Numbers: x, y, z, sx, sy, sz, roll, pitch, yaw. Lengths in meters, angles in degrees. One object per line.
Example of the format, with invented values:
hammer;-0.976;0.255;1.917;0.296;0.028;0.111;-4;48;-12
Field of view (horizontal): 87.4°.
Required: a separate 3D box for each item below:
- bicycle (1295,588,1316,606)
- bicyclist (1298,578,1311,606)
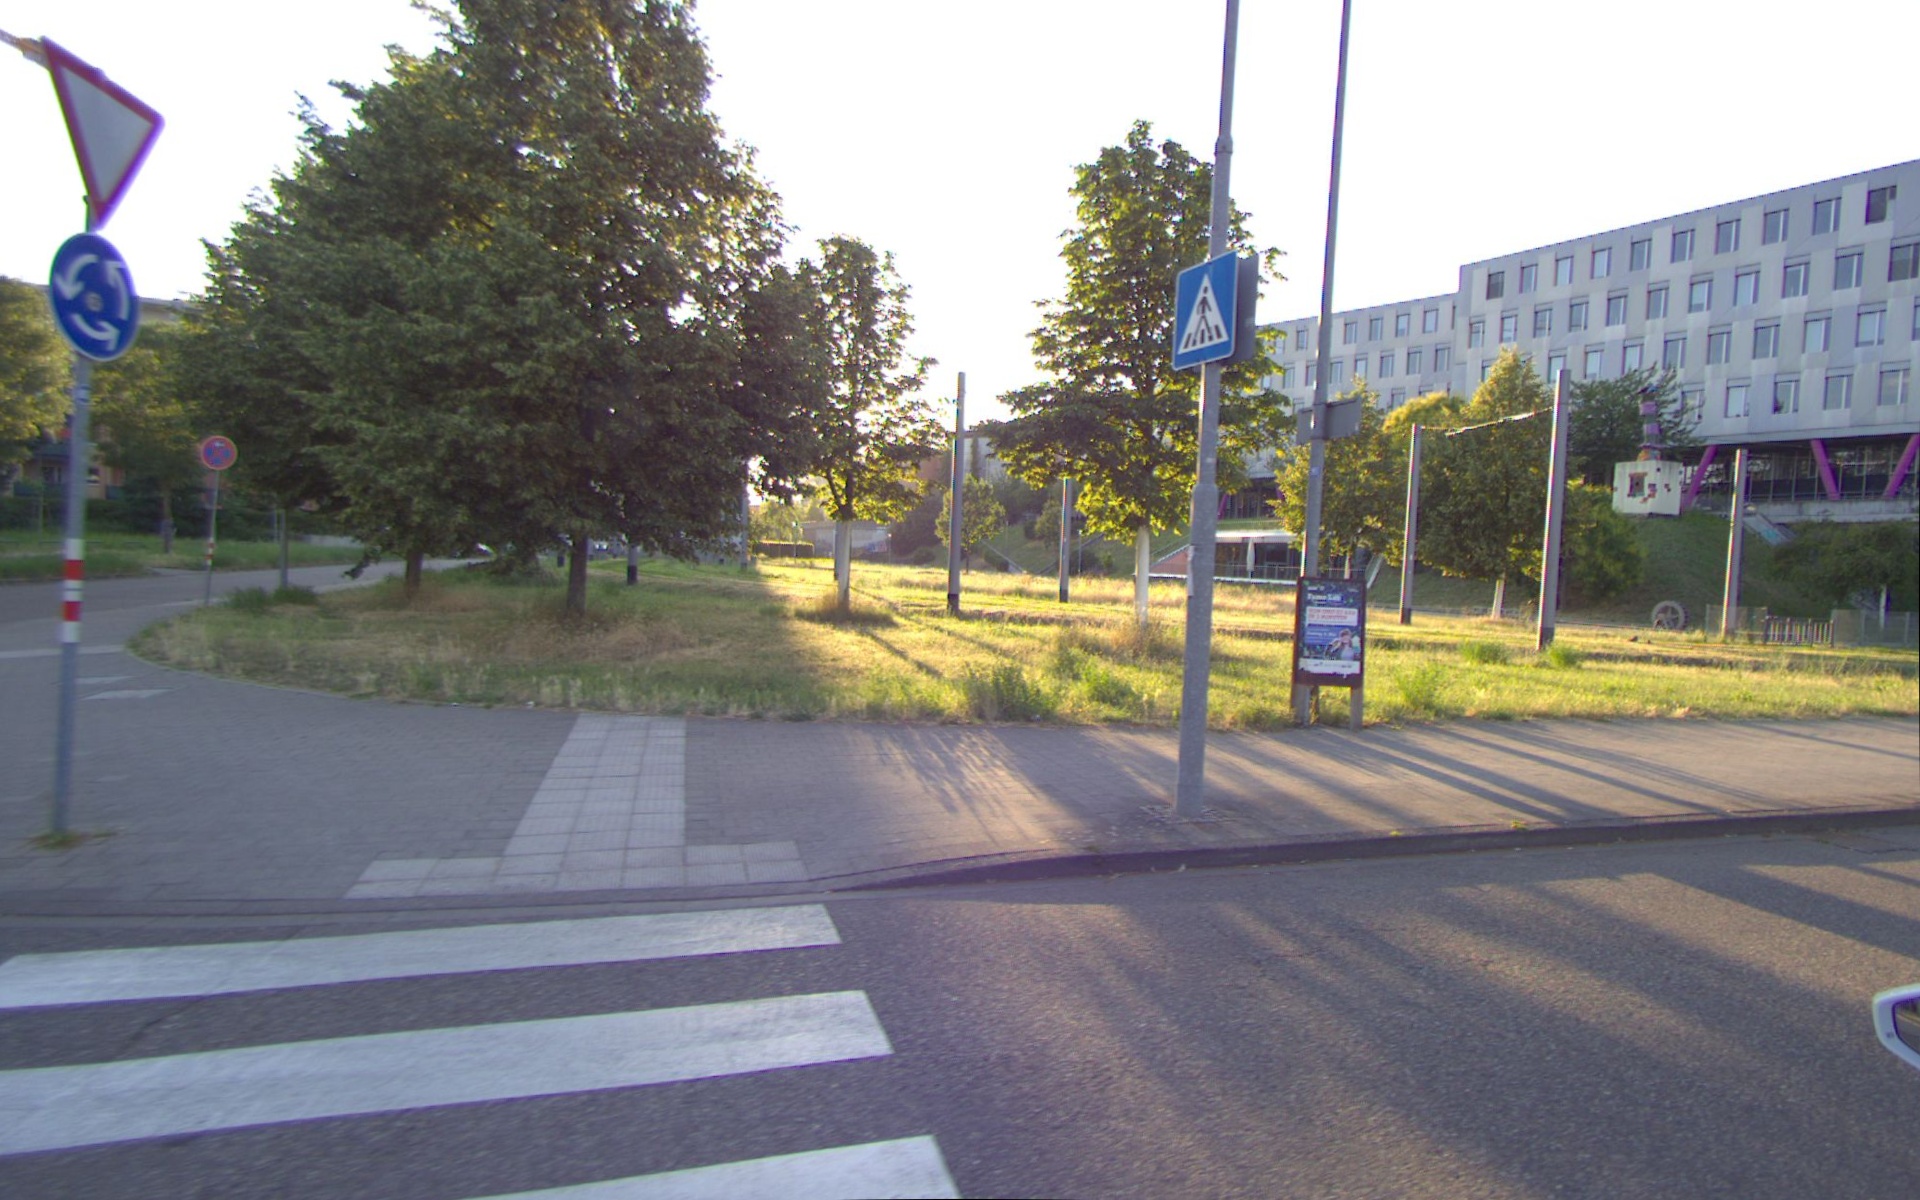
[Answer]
bicycle;19.210;-0.166;55.875;0.424;0.912;1.230;1;3;-19
bicyclist;19.197;-0.456;55.926;0.417;1.515;0.512;1;3;-18
